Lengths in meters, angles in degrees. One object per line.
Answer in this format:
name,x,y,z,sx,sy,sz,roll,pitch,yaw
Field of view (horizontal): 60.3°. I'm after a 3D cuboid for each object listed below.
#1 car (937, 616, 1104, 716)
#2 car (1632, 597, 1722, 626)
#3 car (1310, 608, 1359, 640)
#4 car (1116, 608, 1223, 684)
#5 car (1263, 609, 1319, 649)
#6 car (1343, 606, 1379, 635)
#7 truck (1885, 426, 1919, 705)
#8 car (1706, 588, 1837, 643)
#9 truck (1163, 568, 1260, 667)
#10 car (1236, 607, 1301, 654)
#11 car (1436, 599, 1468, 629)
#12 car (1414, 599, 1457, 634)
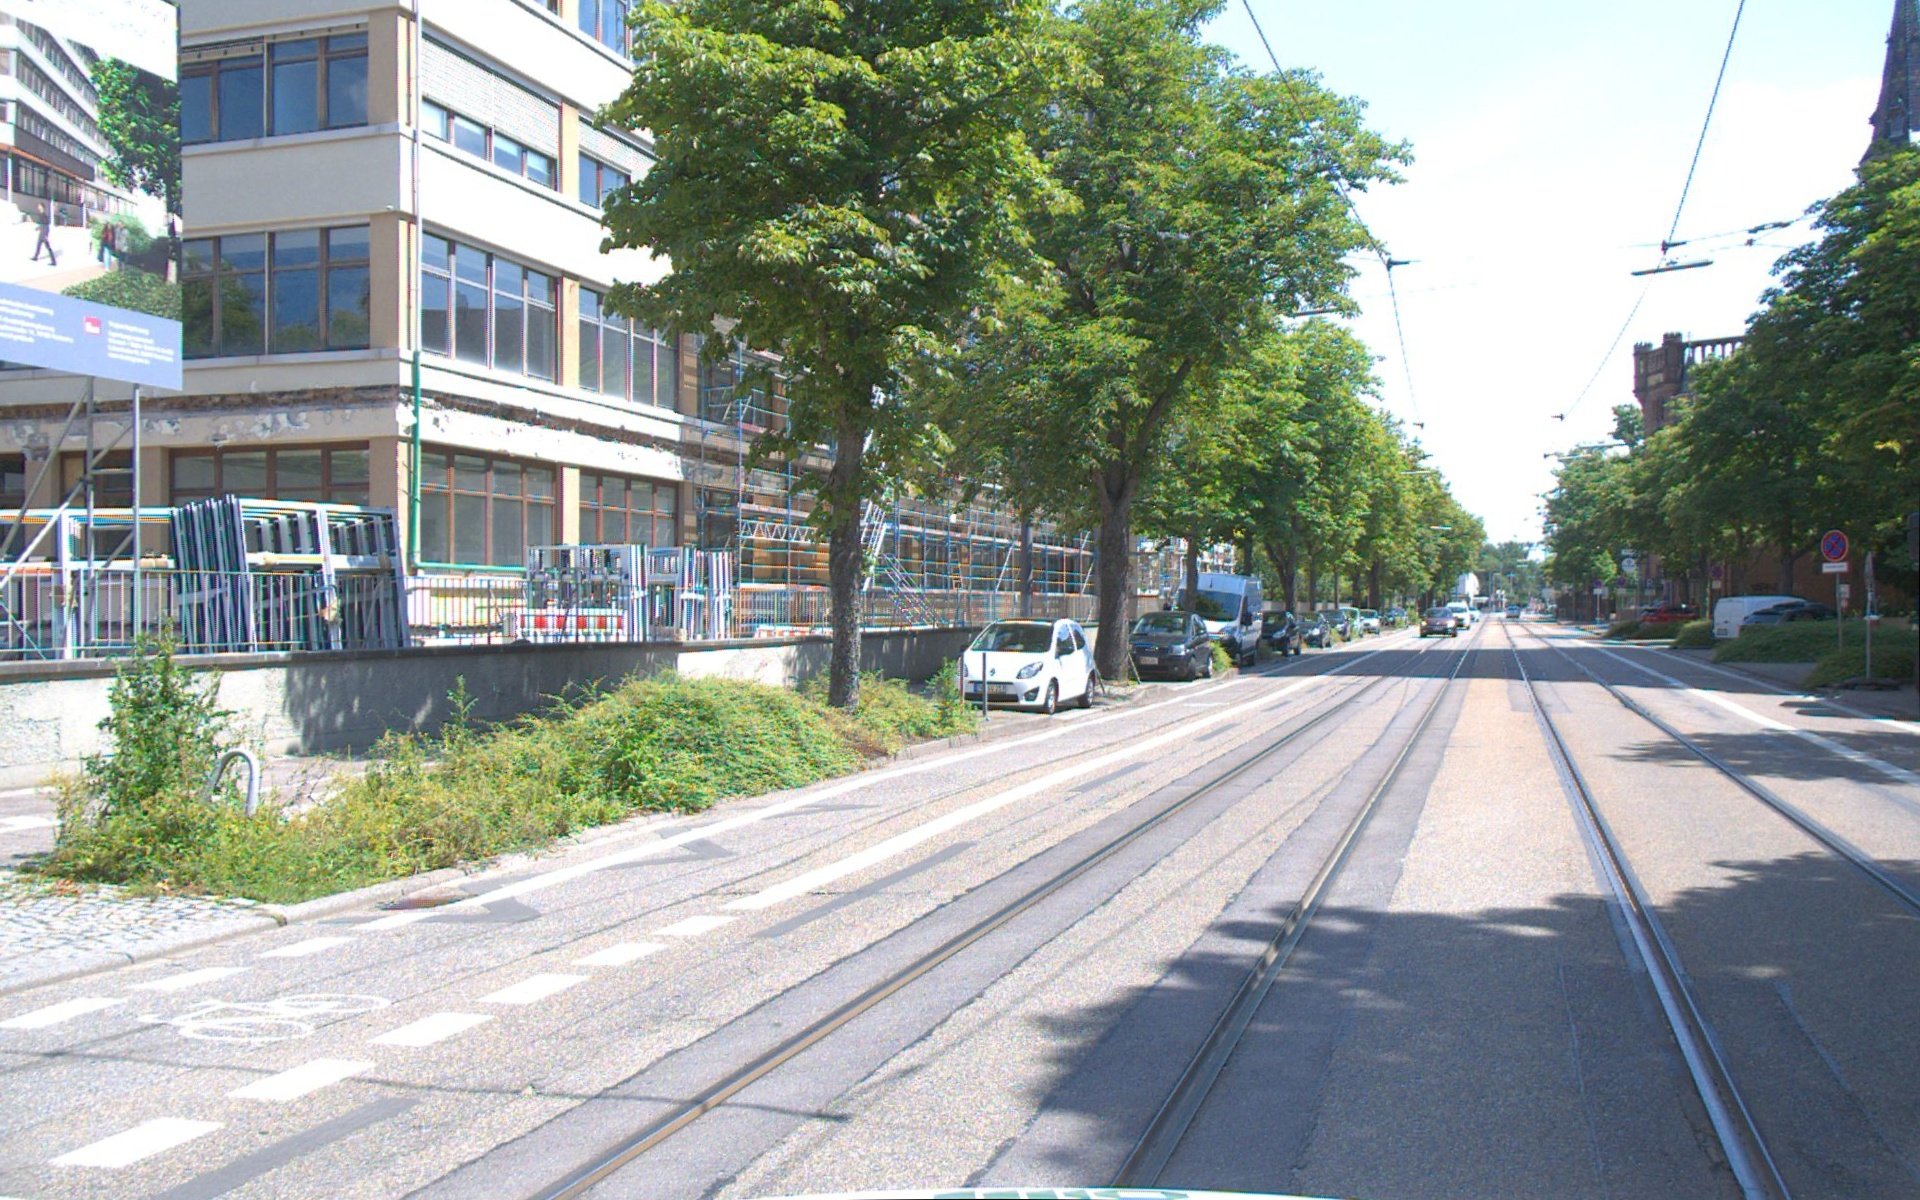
car,1.046,1.000,26.691,1.584,1.465,3.583,0,0,22
car,37.690,0.619,87.017,3.908,1.512,1.999,0,0,-4
car,18.178,1.148,80.062,1.952,1.512,4.340,0,0,18
car,4.906,1.019,38.351,1.951,1.635,4.003,1,0,15
car,12.987,1.113,64.754,1.951,1.512,4.003,0,0,15
car,23.310,1.176,96.025,1.783,1.601,4.002,0,0,18
truck,17.481,-0.503,27.643,2.694,4.076,9.714,-1,-1,34
car,27.470,0.519,56.000,3.928,1.825,1.825,0,0,-20
truck,6.961,0.453,45.261,1.977,2.529,5.877,0,0,15
car,10.260,0.981,54.845,1.951,1.481,4.003,0,0,13
car,33.332,0.933,111.907,1.952,2.049,4.001,0,0,18
car,24.353,0.834,84.639,1.952,1.718,4.001,0,0,19
